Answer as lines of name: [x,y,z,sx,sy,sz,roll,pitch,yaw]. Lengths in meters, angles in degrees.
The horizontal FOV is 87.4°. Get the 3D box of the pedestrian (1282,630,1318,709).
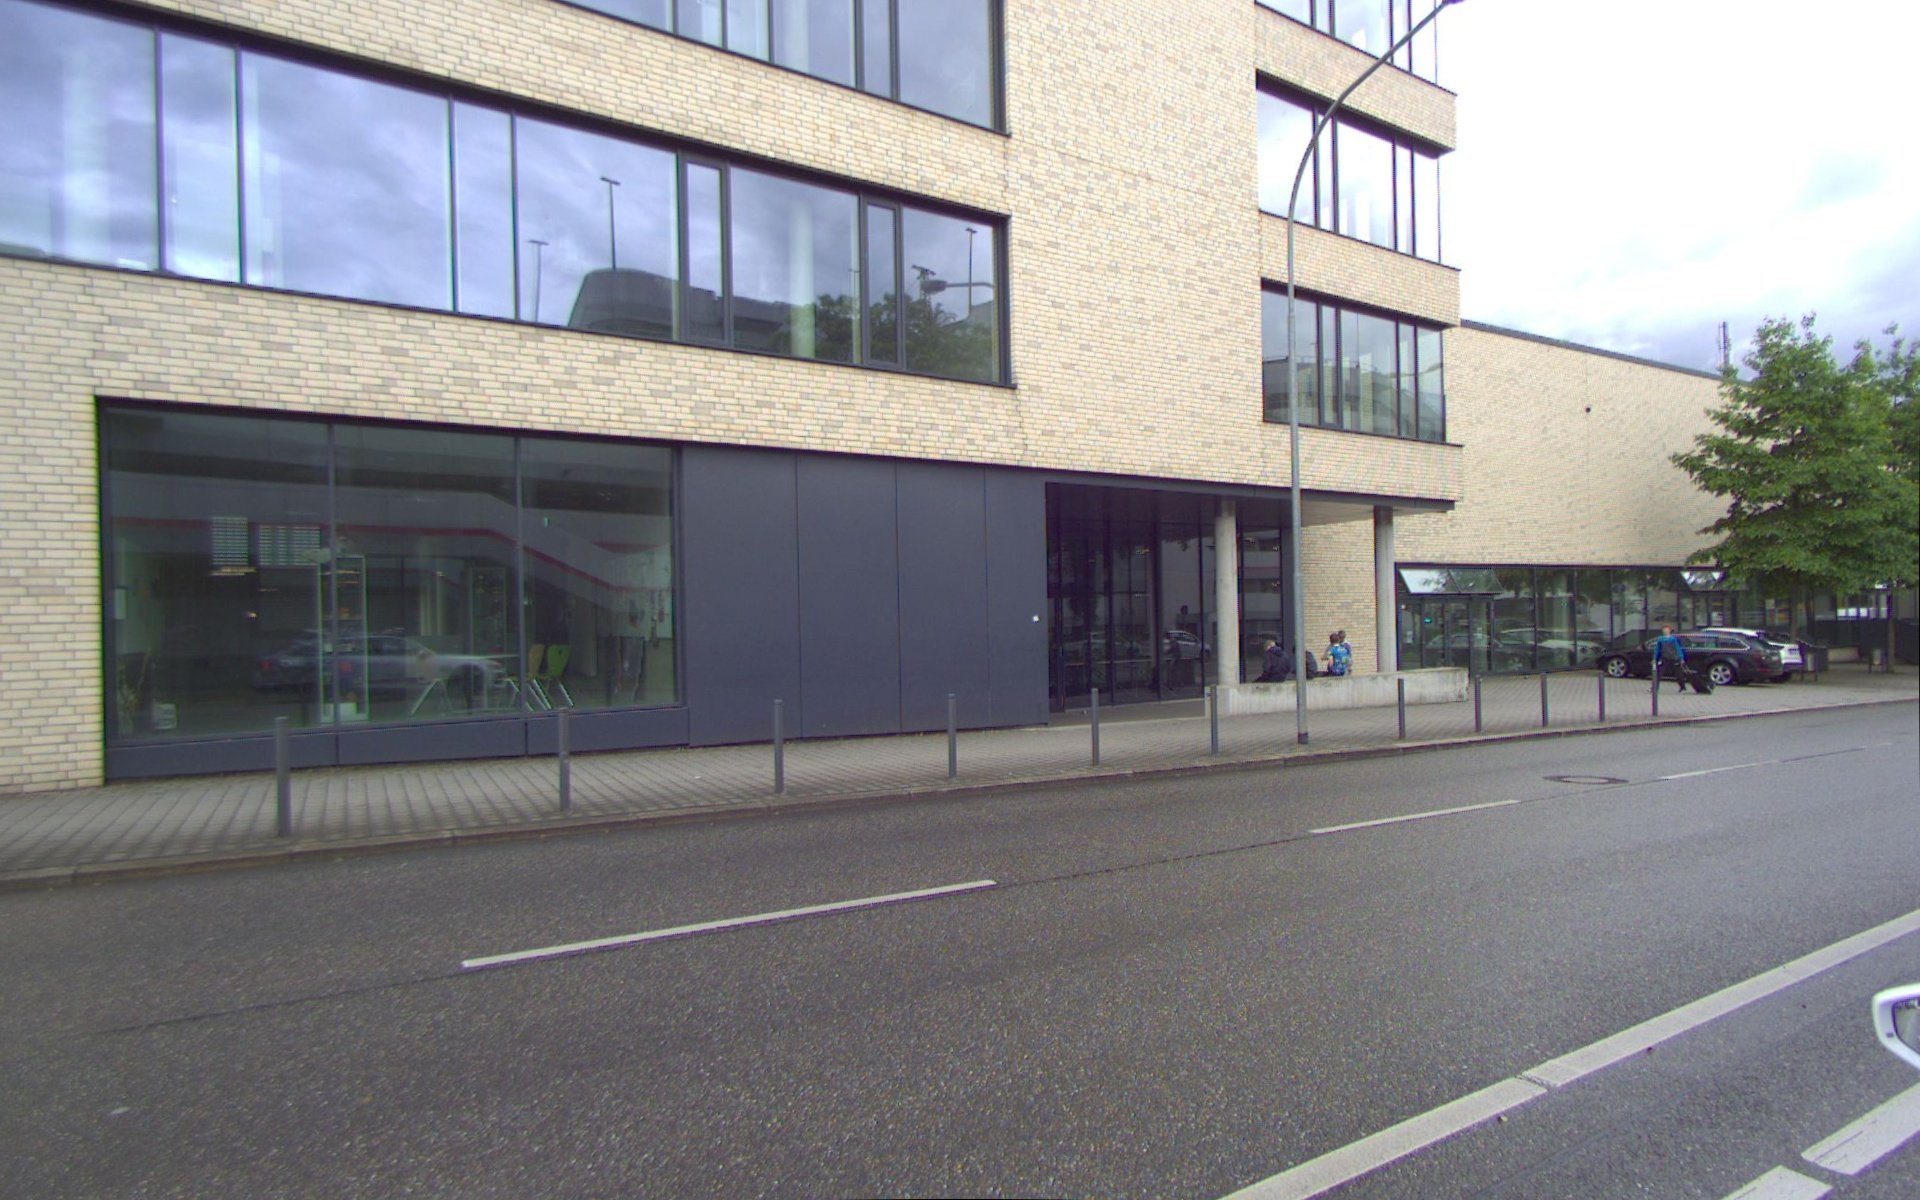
pedestrian: [6.597,1.334,19.514,0.459,1.495,0.446,2,0,-35]

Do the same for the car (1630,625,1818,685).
car: [23.444,1.649,30.988,1.975,1.568,4.159,2,0,-28]

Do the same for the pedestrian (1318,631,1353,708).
pedestrian: [7.567,1.392,20.244,0.459,1.495,0.446,2,0,-35]

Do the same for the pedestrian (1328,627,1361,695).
pedestrian: [8.597,1.361,22.461,0.523,1.495,0.438,2,0,-35]

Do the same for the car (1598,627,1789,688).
car: [21.568,1.632,29.680,1.981,1.515,4.147,2,0,-36]

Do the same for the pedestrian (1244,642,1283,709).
pedestrian: [5.728,1.416,18.960,0.416,1.231,0.546,2,0,-27]

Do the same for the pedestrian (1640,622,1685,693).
pedestrian: [17.614,1.441,25.181,0.696,1.737,0.632,2,0,-27]
